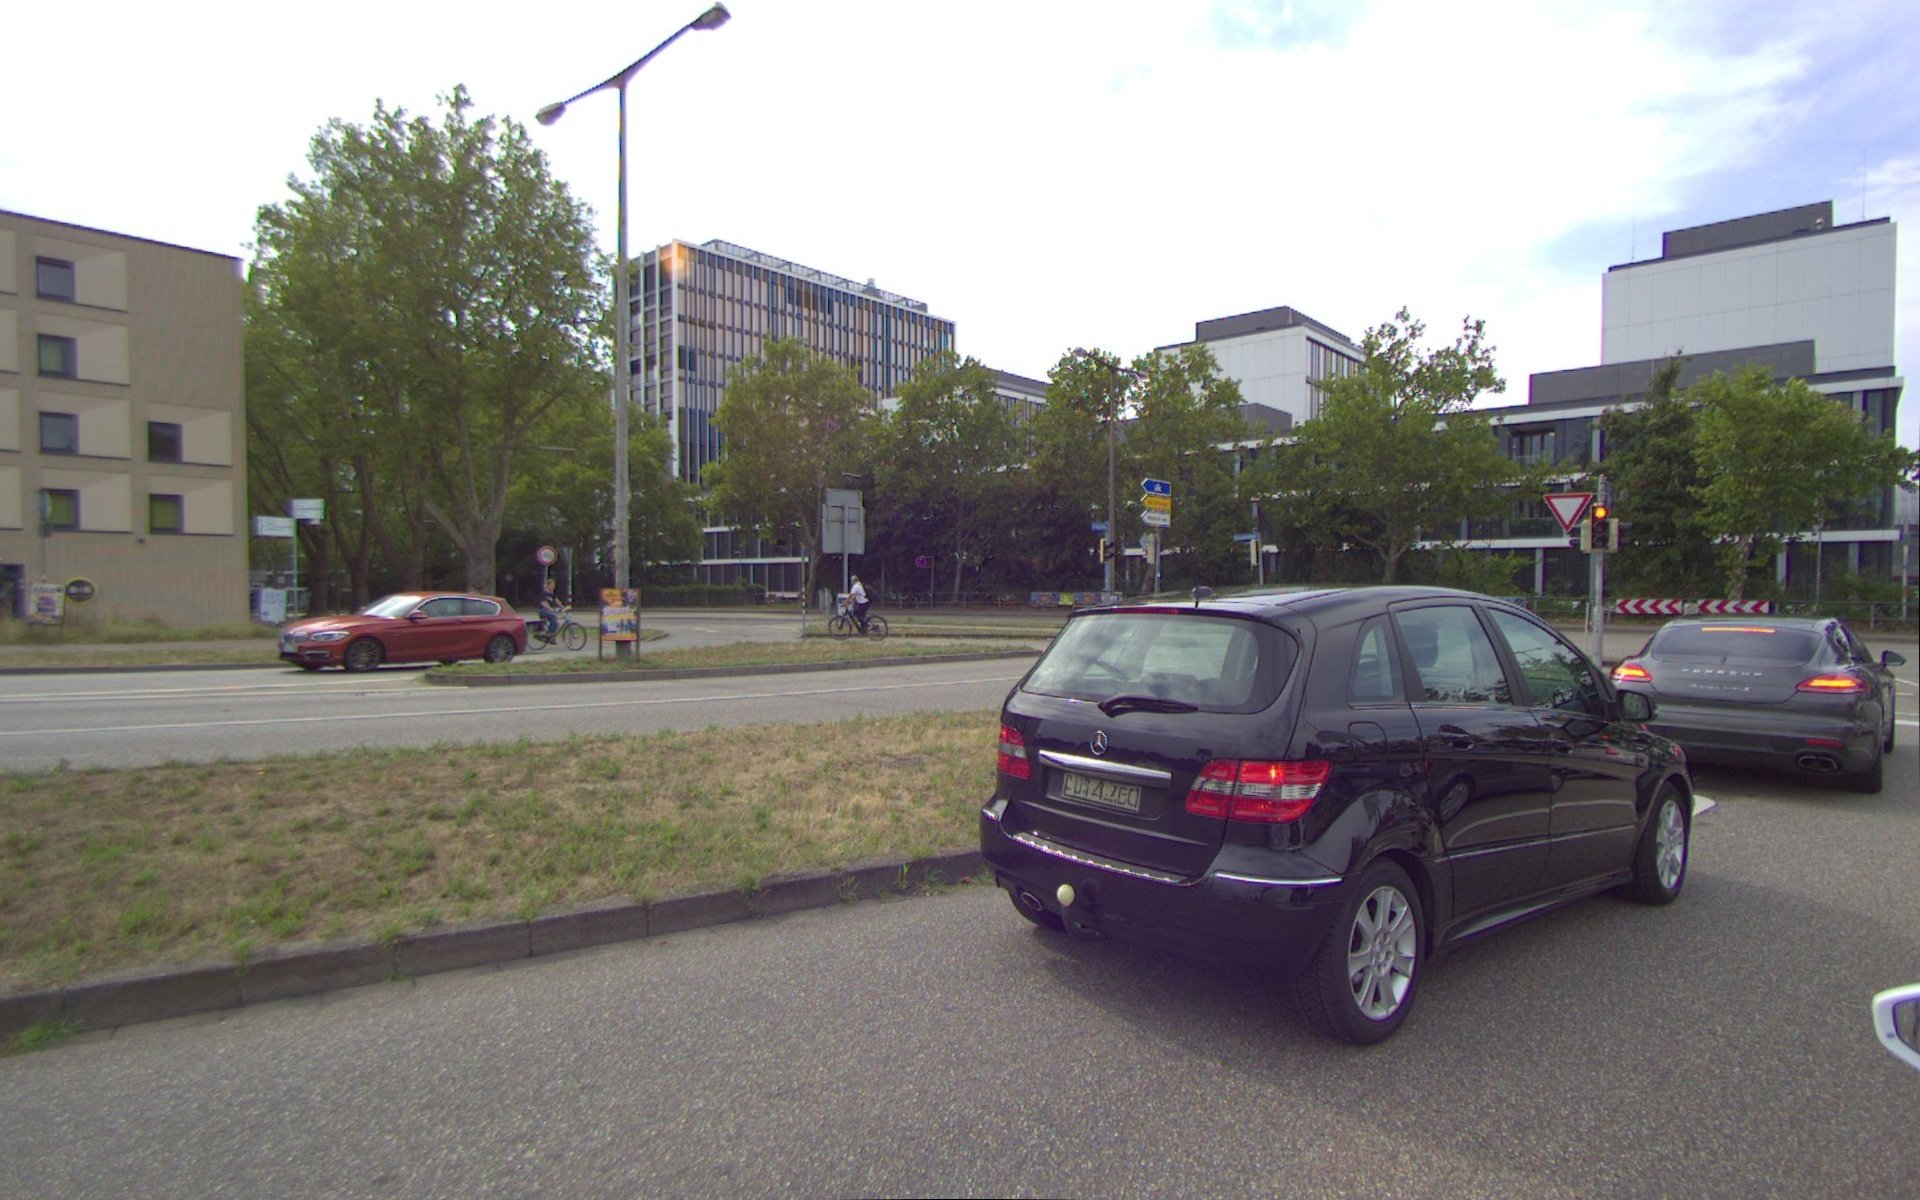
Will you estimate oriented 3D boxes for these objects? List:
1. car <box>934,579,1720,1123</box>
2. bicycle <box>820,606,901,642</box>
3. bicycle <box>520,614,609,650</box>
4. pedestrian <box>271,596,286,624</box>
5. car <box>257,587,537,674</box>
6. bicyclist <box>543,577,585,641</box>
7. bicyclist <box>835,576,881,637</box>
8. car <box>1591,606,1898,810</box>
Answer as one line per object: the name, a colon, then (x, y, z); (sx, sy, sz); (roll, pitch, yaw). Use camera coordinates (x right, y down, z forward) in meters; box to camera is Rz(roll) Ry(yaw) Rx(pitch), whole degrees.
car: (1.988, 0.713, 4.882); (4.000, 1.596, 1.743); (-1, 2, -38)
bicycle: (-2.886, 0.680, 29.122); (2.190, 0.965, 0.812); (1, 0, 16)
bicycle: (-10.357, 0.832, 26.373); (2.083, 0.921, 0.739); (1, 0, -14)
pedestrian: (-29.023, 0.423, 42.759); (0.498, 1.140, 0.458); (0, 1, -38)
car: (-10.289, 0.524, 18.733); (1.913, 1.399, 4.211); (1, 0, 26)
bicyclist: (-10.390, 0.241, 26.362); (0.905, 1.636, 0.740); (1, 0, -14)
bicyclist: (-2.964, 0.184, 29.121); (1.093, 1.719, 0.813); (1, 0, 16)
car: (7.726, 0.809, 9.691); (1.800, 1.433, 4.746); (2, 1, 44)
